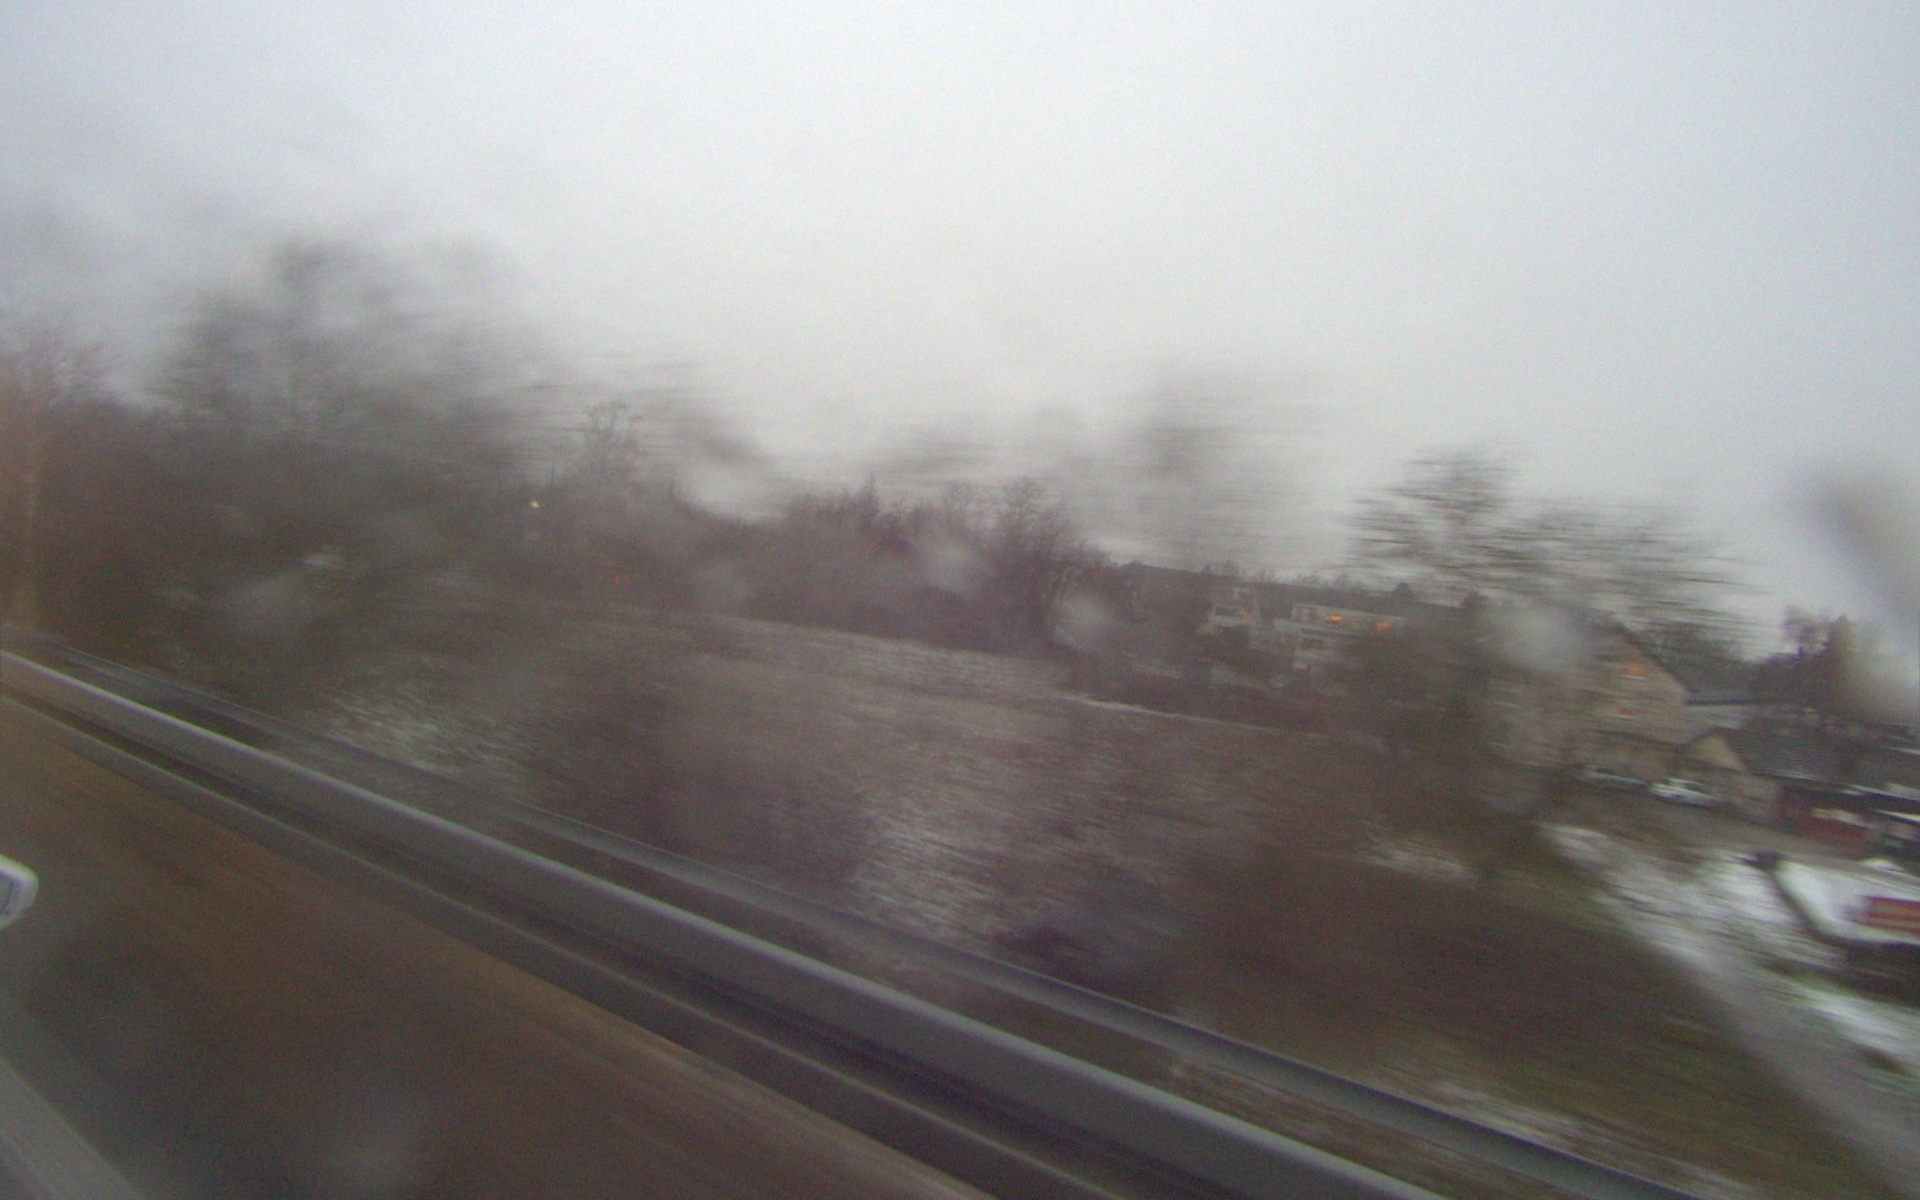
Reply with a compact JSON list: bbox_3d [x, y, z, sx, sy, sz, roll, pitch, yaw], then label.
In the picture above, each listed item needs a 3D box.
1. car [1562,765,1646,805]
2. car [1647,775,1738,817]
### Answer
[{"bbox_3d":[41.021,11.775,64.144,3.925,1.749,2.001,7,0,2],"label":"car"},{"bbox_3d":[44.818,11.982,61.602,3.925,1.749,2.001,7,0,2],"label":"car"}]
